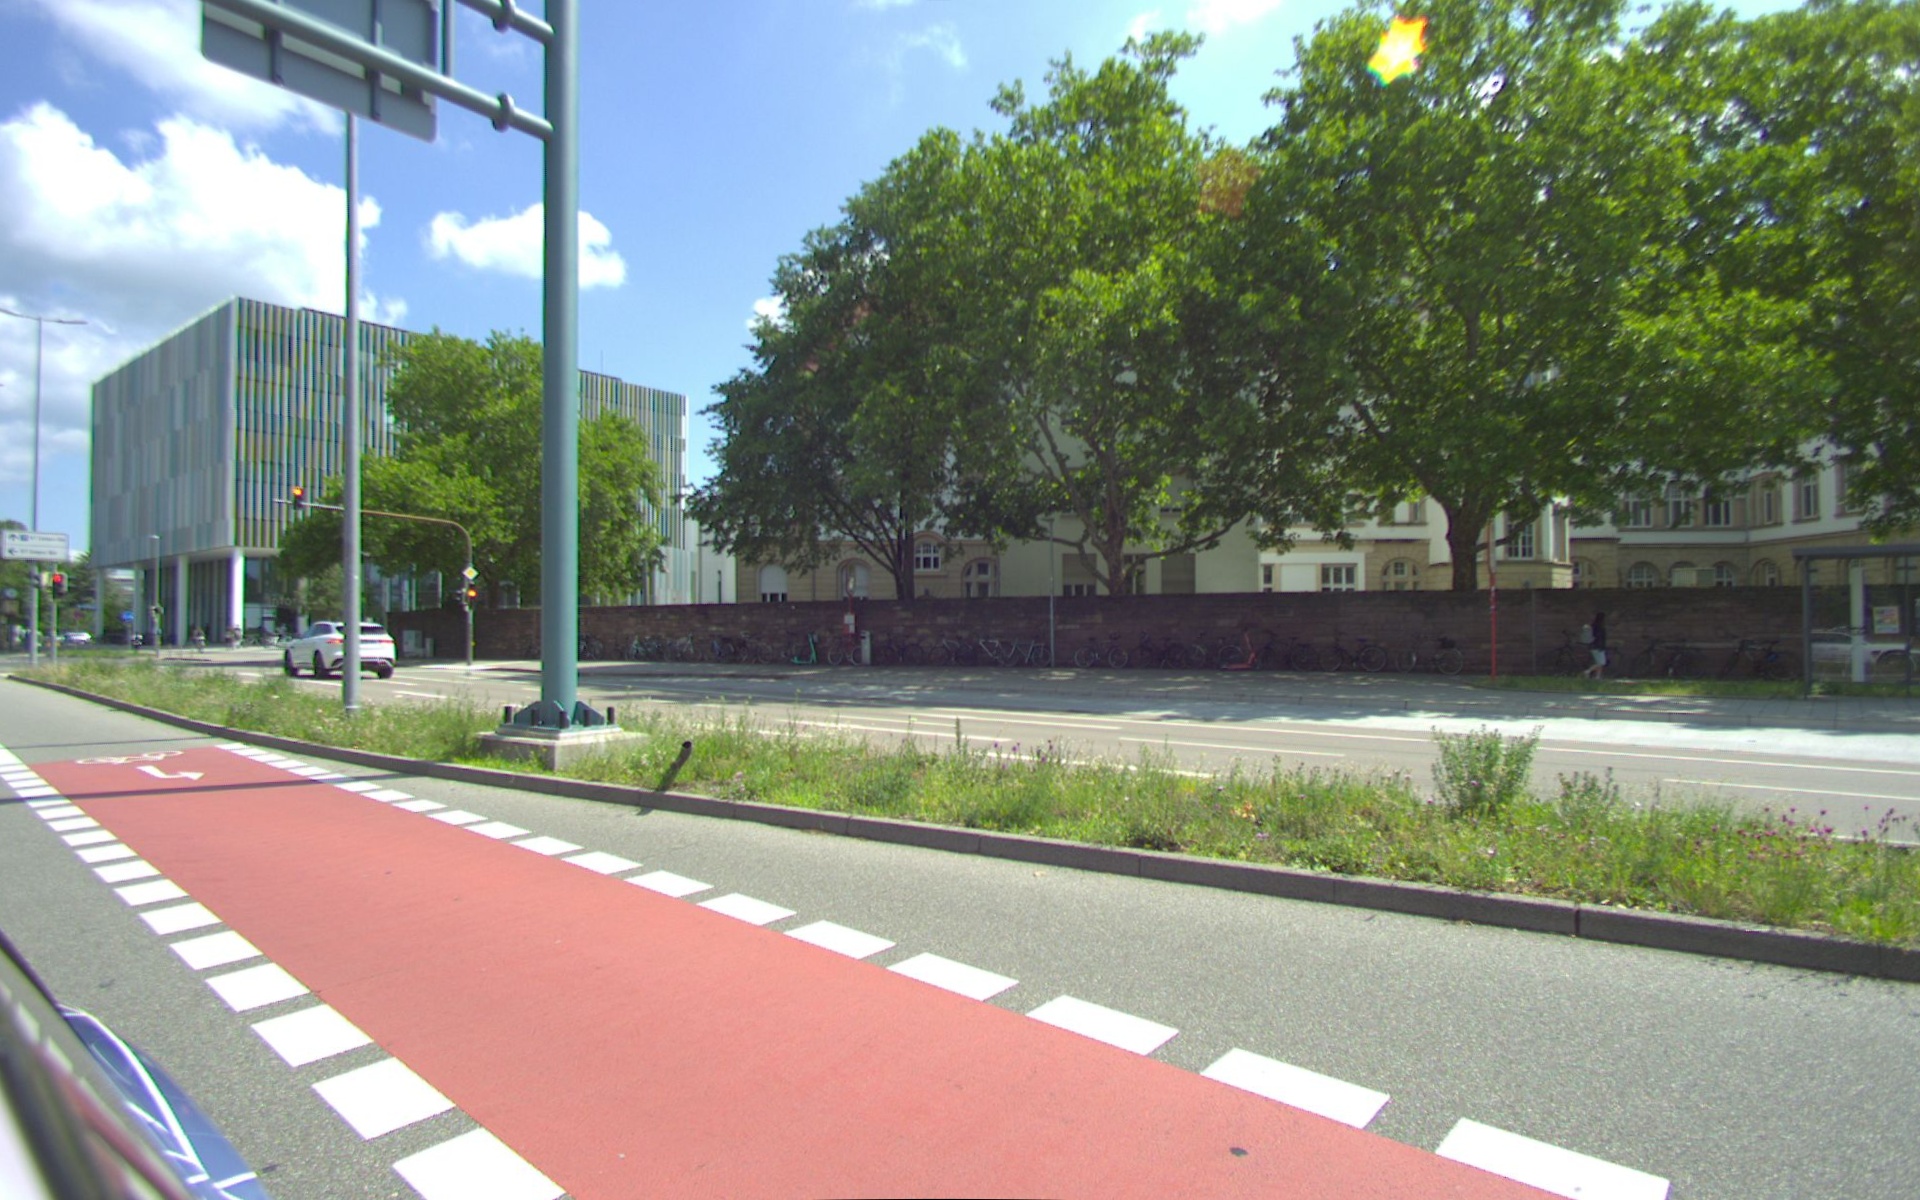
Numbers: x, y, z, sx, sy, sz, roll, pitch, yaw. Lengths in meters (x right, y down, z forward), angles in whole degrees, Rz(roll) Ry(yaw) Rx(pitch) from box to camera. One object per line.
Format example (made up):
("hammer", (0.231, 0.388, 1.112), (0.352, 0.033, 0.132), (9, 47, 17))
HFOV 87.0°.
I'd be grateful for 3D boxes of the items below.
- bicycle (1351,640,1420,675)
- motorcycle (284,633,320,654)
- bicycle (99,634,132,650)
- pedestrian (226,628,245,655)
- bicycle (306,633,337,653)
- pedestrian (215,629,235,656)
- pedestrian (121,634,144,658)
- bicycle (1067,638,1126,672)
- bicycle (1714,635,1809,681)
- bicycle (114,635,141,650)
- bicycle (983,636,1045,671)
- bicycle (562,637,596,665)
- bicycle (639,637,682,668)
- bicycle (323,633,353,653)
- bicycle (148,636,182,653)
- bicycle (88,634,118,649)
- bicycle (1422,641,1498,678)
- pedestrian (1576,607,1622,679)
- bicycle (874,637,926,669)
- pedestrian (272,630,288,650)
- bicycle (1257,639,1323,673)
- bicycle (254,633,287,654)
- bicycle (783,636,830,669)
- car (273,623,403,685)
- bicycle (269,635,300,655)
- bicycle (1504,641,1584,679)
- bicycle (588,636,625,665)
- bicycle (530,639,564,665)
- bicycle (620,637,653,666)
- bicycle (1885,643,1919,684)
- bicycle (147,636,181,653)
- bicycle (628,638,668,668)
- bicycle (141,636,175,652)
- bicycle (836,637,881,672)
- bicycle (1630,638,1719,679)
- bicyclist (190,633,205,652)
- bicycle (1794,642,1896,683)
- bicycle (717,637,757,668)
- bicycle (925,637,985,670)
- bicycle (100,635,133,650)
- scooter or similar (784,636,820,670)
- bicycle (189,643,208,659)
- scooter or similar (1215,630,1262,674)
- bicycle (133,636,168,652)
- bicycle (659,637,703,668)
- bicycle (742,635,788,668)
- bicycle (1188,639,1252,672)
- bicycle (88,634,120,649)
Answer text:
("bicycle", (11.303, 1.522, 26.872), (1.656, 0.909, 0.540), (-1, -2, 26))
("motorcycle", (-52.977, 3.486, 81.498), (0.957, 1.652, 3.301), (0, -2, -5))
("bicycle", (-86.572, 4.300, 103.779), (0.621, 1.506, 2.479), (-2, -2, 41))
("pedestrian", (-54.017, 3.100, 75.488), (0.955, 1.940, 0.882), (0, -2, -23))
("bicycle", (-51.535, 3.466, 81.715), (1.034, 1.564, 3.423), (0, -2, -13))
("pedestrian", (-52.800, 3.056, 72.725), (0.955, 1.940, 0.882), (0, -2, -20))
("pedestrian", (-56.325, 3.125, 68.862), (0.875, 1.641, 0.962), (-1, -2, 29))
("bicycle", (4.062, 1.630, 30.094), (1.658, 0.956, 0.540), (-2, -2, 29))
("bicycle", (18.702, 1.346, 23.659), (1.614, 1.059, 0.541), (-1, -2, 24))
("bicycle", (-83.581, 4.260, 101.628), (0.621, 1.506, 2.044), (-2, -2, 41))
("bicycle", (1.678, 1.670, 31.498), (1.887, 1.055, 0.540), (-2, -2, 29))
("bicycle", (-16.063, 2.133, 42.656), (1.589, 1.161, 0.495), (-2, -2, 33))
("bicycle", (-11.519, 2.015, 38.943), (1.576, 1.161, 0.401), (-1, -2, 8))
("bicycle", (-50.178, 3.470, 81.716), (0.983, 1.564, 3.423), (0, -2, -13))
("bicycle", (-73.981, 4.118, 94.232), (2.473, 1.506, 0.731), (1, -2, -39))
("bicycle", (-90.944, 4.371, 107.402), (0.656, 1.506, 2.273), (-2, -2, 41))
("bicycle", (12.815, 1.506, 25.954), (1.663, 0.909, 0.497), (-2, -2, 38))
("pedestrian", (14.741, 0.974, 23.367), (0.752, 1.629, 0.612), (-1, -1, 20))
("bicycle", (-2.009, 1.764, 33.750), (1.795, 1.016, 0.476), (-2, -2, 32))
("pedestrian", (-60.840, 3.570, 90.508), (0.997, 1.720, 1.214), (0, -2, -24))
("bicycle", (9.062, 1.540, 27.827), (1.658, 0.909, 0.540), (-2, -2, 29))
("bicycle", (-55.354, 3.500, 81.287), (0.797, 1.656, 3.420), (0, -2, -8))
("bicycle", (-5.403, 1.844, 35.671), (1.582, 1.161, 0.530), (-1, -2, 19))
("car", (-18.532, 1.563, 30.068), (4.774, 1.680, 2.048), (-2, -2, 42))
("bicycle", (-54.311, 3.589, 81.385), (0.919, 1.505, 2.690), (0, -1, -4))
("bicycle", (14.633, 1.502, 25.395), (1.656, 0.909, 0.540), (-1, -2, 26))
("bicycle", (-14.577, 2.088, 41.694), (1.589, 1.161, 0.616), (-2, -2, 33))
("bicycle", (-17.952, 2.272, 43.955), (1.589, 1.107, 0.567), (-2, -2, 33))
("bicycle", (-13.060, 2.072, 40.839), (1.591, 1.161, 0.408), (-2, -2, 36))
("bicycle", (21.978, 1.423, 22.743), (1.653, 0.909, 0.541), (-1, -2, 21))
("bicycle", (-73.402, 4.101, 93.360), (0.621, 1.506, 2.420), (-2, -2, 41))
("bicycle", (-12.273, 2.079, 39.815), (1.581, 1.161, 0.400), (-1, -2, 18))
("bicycle", (-76.594, 4.167, 96.684), (0.621, 1.506, 2.479), (-2, -2, 41))
("bicycle", (-3.488, 1.857, 34.632), (1.587, 1.151, 0.429), (-2, -2, 29))
("bicycle", (17.175, 1.409, 24.369), (1.655, 0.959, 0.541), (-1, -2, 24))
("bicyclist", (-51.139, 2.866, 67.896), (0.608, 1.235, 0.836), (0, -2, -26))
("bicycle", (20.365, 1.424, 23.322), (1.653, 0.909, 0.541), (-1, -2, 21))
("bicycle", (-8.276, 1.941, 37.492), (1.587, 1.161, 0.398), (-2, -2, 30))
("bicycle", (-0.169, 1.716, 32.648), (1.941, 1.055, 0.540), (-2, -2, 29))
("bicycle", (-85.787, 4.285, 102.985), (0.621, 1.506, 2.479), (-2, -2, 41))
("scooter or similar", (-5.458, 1.822, 34.966), (1.184, 1.161, 0.430), (-1, -2, 20))
("bicycle", (-51.043, 3.395, 67.850), (0.636, 1.006, 2.170), (0, -2, -27))
("scooter or similar", (7.649, 1.422, 27.801), (1.184, 1.192, 0.430), (-1, -2, 20))
("bicycle", (-76.386, 4.142, 95.537), (0.621, 1.506, 2.479), (-2, -2, 41))
("bicycle", (-10.560, 2.004, 38.350), (1.576, 1.161, 0.401), (-1, -2, 8))
("bicycle", (-7.026, 1.857, 36.443), (1.582, 1.161, 0.530), (-1, -2, 19))
("bicycle", (7.368, 1.558, 28.698), (1.658, 0.909, 0.540), (-1, -2, 29))
("bicycle", (-89.569, 4.342, 105.952), (0.621, 1.506, 2.479), (-2, -2, 41))
